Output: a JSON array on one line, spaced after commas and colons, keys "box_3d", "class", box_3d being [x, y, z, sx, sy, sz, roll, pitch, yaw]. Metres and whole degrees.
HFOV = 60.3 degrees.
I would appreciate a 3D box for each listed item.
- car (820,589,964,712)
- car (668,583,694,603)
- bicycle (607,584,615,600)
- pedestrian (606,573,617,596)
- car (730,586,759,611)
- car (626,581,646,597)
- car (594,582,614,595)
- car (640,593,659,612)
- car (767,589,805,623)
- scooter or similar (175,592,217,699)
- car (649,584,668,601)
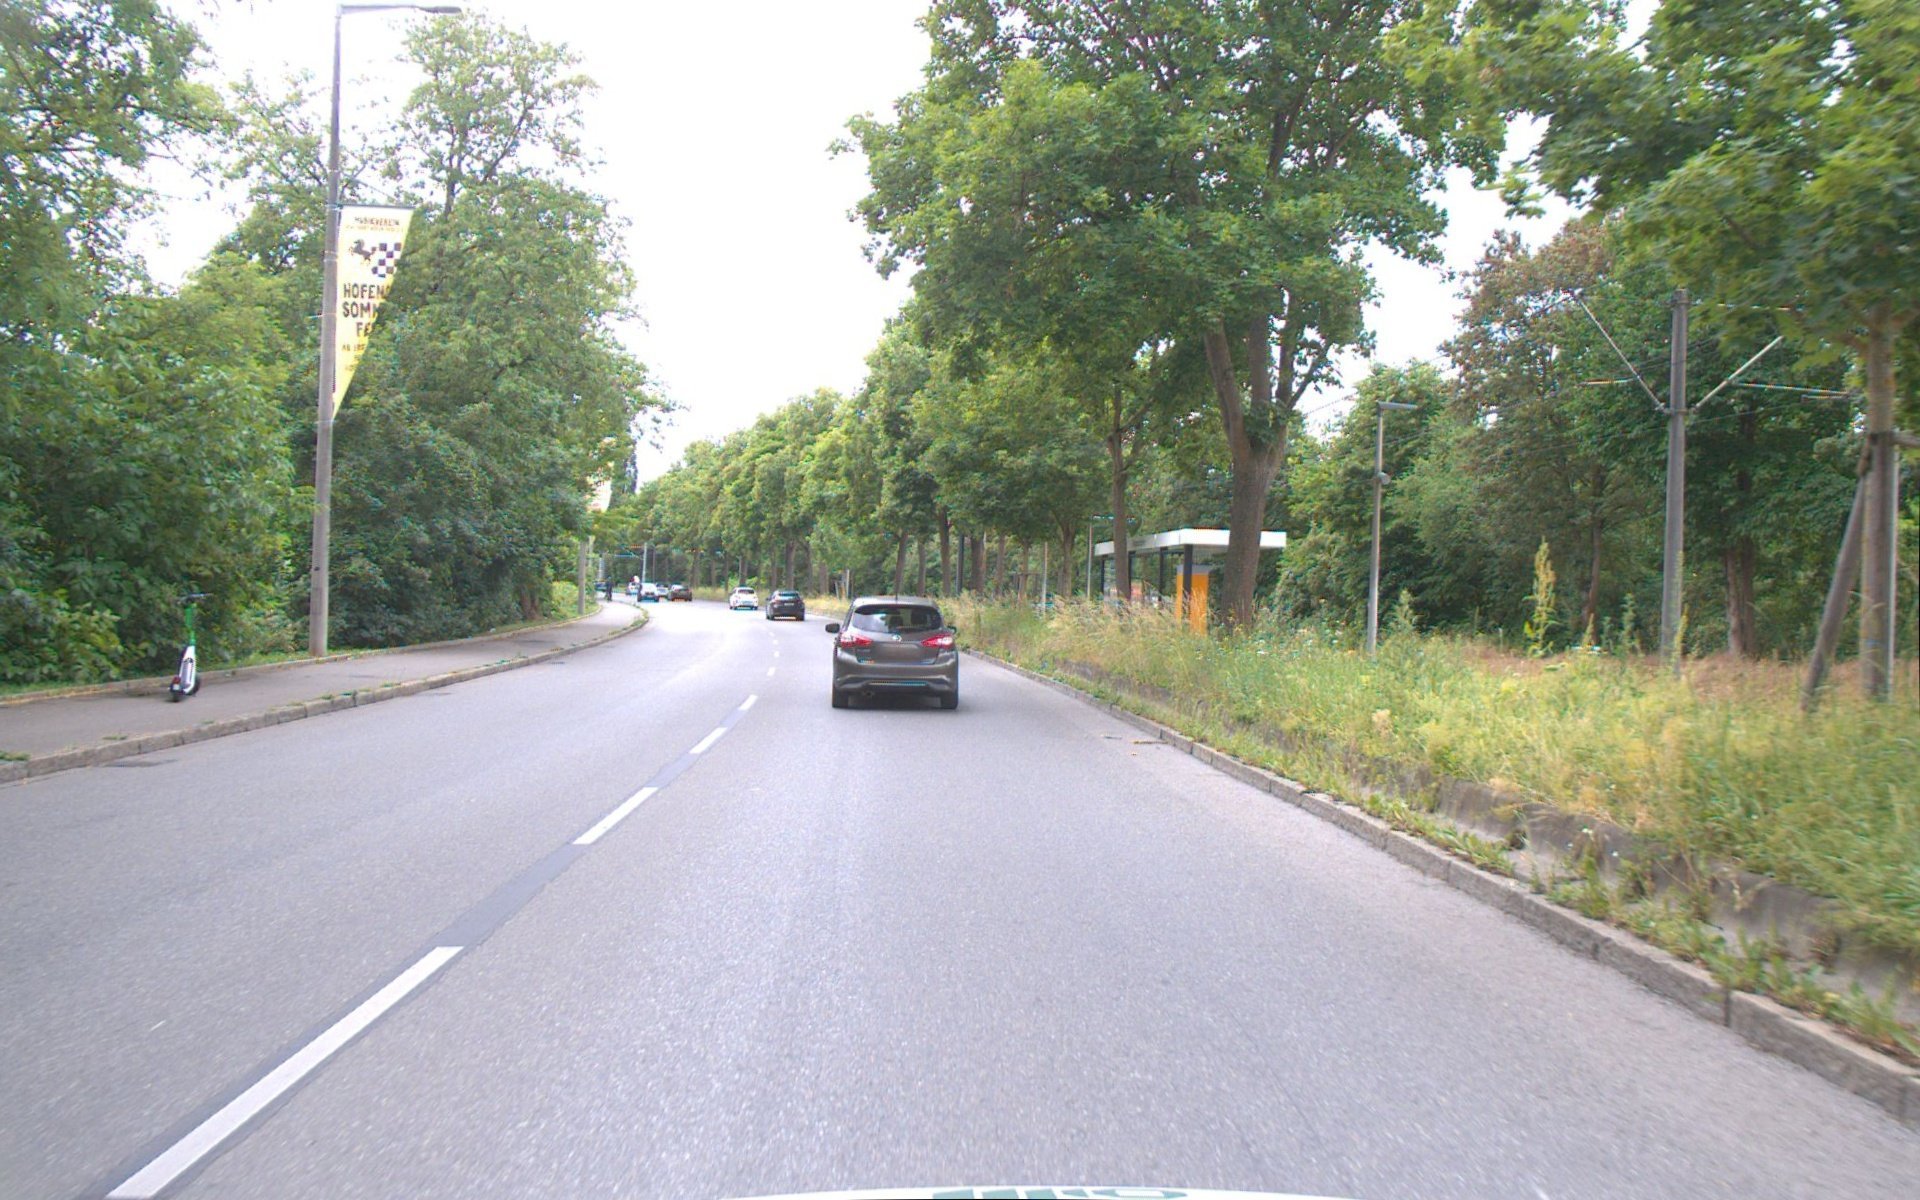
[{"box_3d": [-1.059, 0.661, 23.909, 1.781, 1.534, 3.995, 1, 1, -7], "class": "car"}, {"box_3d": [-24.863, -0.620, 147.377, 1.747, 1.497, 3.983, 4, 0, -16], "class": "car"}, {"box_3d": [-24.692, -0.572, 117.008, 0.479, 1.048, 1.120, 4, 0, -13], "class": "bicycle"}, {"box_3d": [-24.650, -1.095, 116.964, 0.607, 1.598, 0.846, 4, 0, -14], "class": "pedestrian"}, {"box_3d": [-14.591, -0.100, 112.162, 1.742, 1.497, 3.995, 4, 1, -7], "class": "car"}, {"box_3d": [-35.549, -1.228, 181.535, 1.747, 1.497, 3.983, 4, 1, -16], "class": "car"}, {"box_3d": [-44.848, -1.450, 208.419, 1.751, 1.497, 3.975, 4, 1, -21], "class": "car"}, {"box_3d": [-26.065, 0.191, 138.783, 1.567, 1.532, 3.020, 1, 0, -11], "class": "car"}, {"box_3d": [-8.725, 0.297, 83.111, 1.742, 1.497, 3.995, 4, 1, -6], "class": "car"}, {"box_3d": [-9.097, 0.526, 19.711, 0.359, 1.204, 1.288, 3, 0, -23], "class": "scooter or similar"}, {"box_3d": [-29.398, -0.716, 161.419, 1.744, 1.497, 3.991, 3, 1, -10], "class": "car"}]
